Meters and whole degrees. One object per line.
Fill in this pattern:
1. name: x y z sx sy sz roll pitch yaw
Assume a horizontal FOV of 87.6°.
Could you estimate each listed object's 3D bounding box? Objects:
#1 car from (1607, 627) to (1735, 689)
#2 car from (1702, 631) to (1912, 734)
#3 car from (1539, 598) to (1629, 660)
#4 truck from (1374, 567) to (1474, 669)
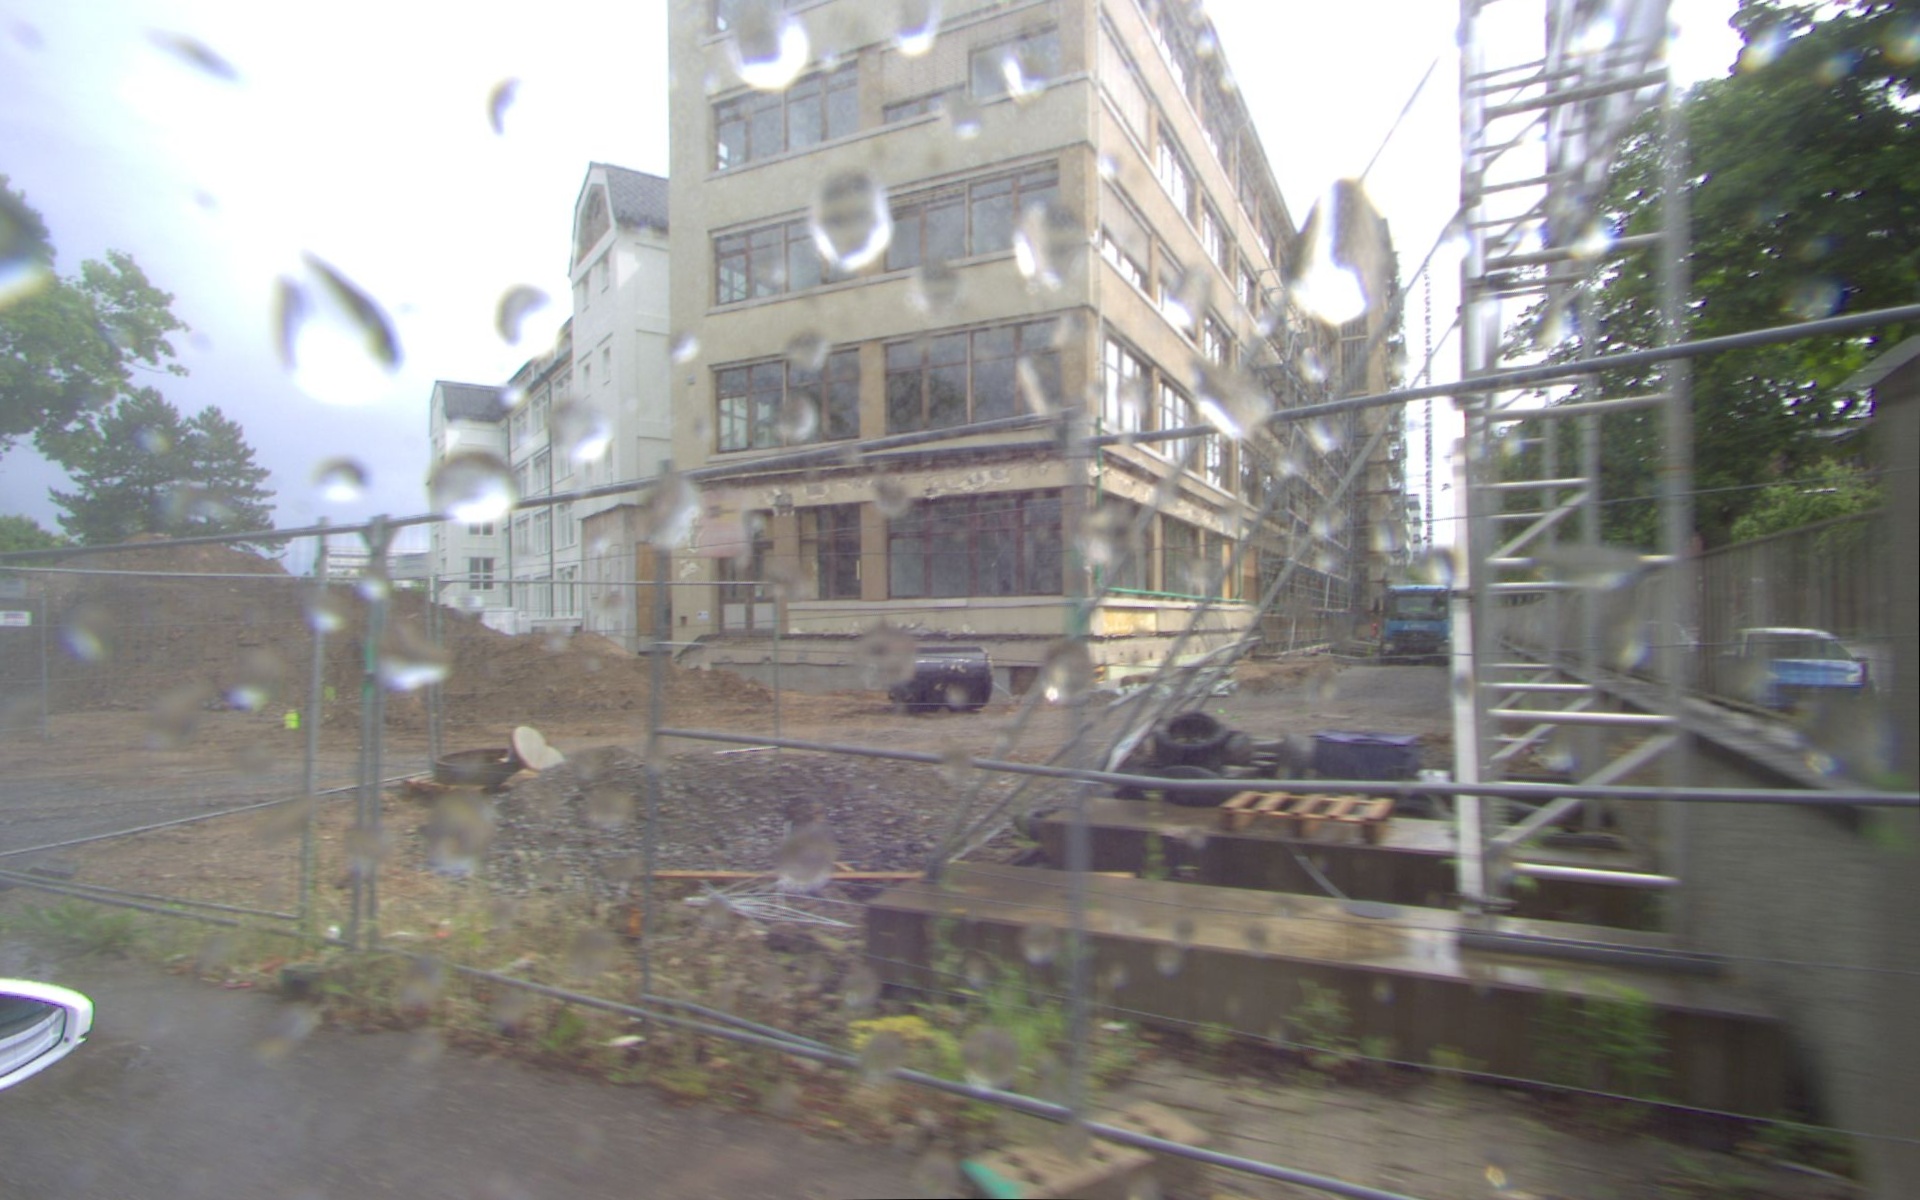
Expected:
1. car: 18.974 1.513 26.913 1.858 1.489 3.992 1 -1 21
2. car: 14.229 1.304 17.096 1.860 1.489 3.986 1 -1 27
3. car: 27.191 1.272 43.867 2.554 2.505 6.136 1 -1 25
4. truck: 18.825 0.799 40.212 3.192 3.572 9.876 1 -1 27
